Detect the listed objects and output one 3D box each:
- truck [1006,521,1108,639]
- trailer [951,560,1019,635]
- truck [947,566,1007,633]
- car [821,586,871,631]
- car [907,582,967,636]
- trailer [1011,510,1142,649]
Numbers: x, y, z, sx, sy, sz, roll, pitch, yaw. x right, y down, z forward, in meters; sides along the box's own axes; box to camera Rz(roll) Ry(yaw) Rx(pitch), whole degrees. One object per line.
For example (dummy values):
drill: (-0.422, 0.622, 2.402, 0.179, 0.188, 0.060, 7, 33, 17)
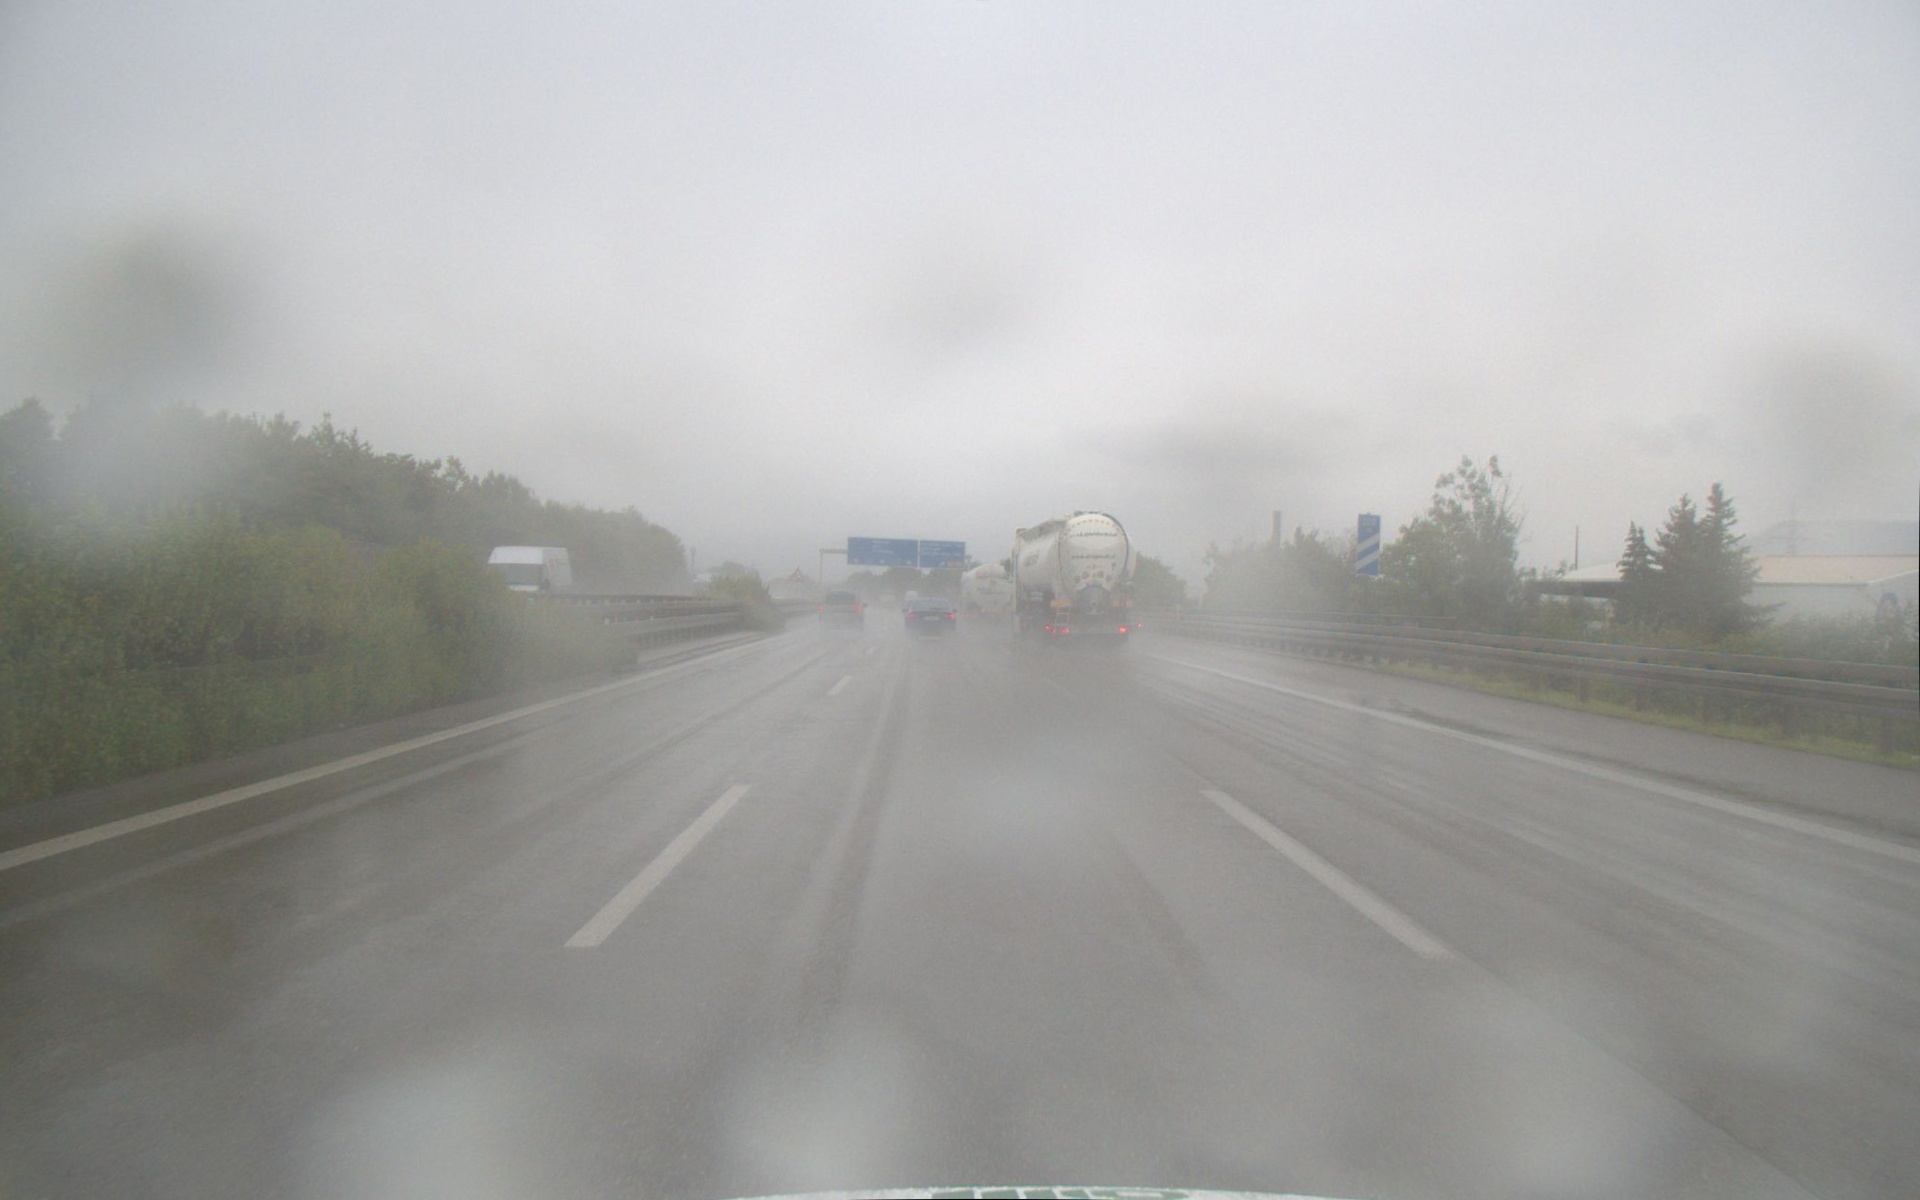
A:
truck: (3.306, -0.683, 58.307, 3.041, 3.873, 7.211, 1, 0, -1)
trailer: (1.287, -0.140, 91.889, 2.946, 3.915, 8.615, 1, 0, -5)
truck: (0.920, -0.045, 95.861, 2.886, 3.748, 6.356, 1, 0, -4)
car: (-4.687, 0.324, 68.413, 1.886, 1.771, 4.402, 1, 0, -2)
car: (-0.756, 0.280, 57.001, 1.938, 1.787, 4.482, 0, 0, 1)
trailer: (3.328, -0.570, 50.545, 3.123, 3.734, 11.666, 1, 0, 0)
